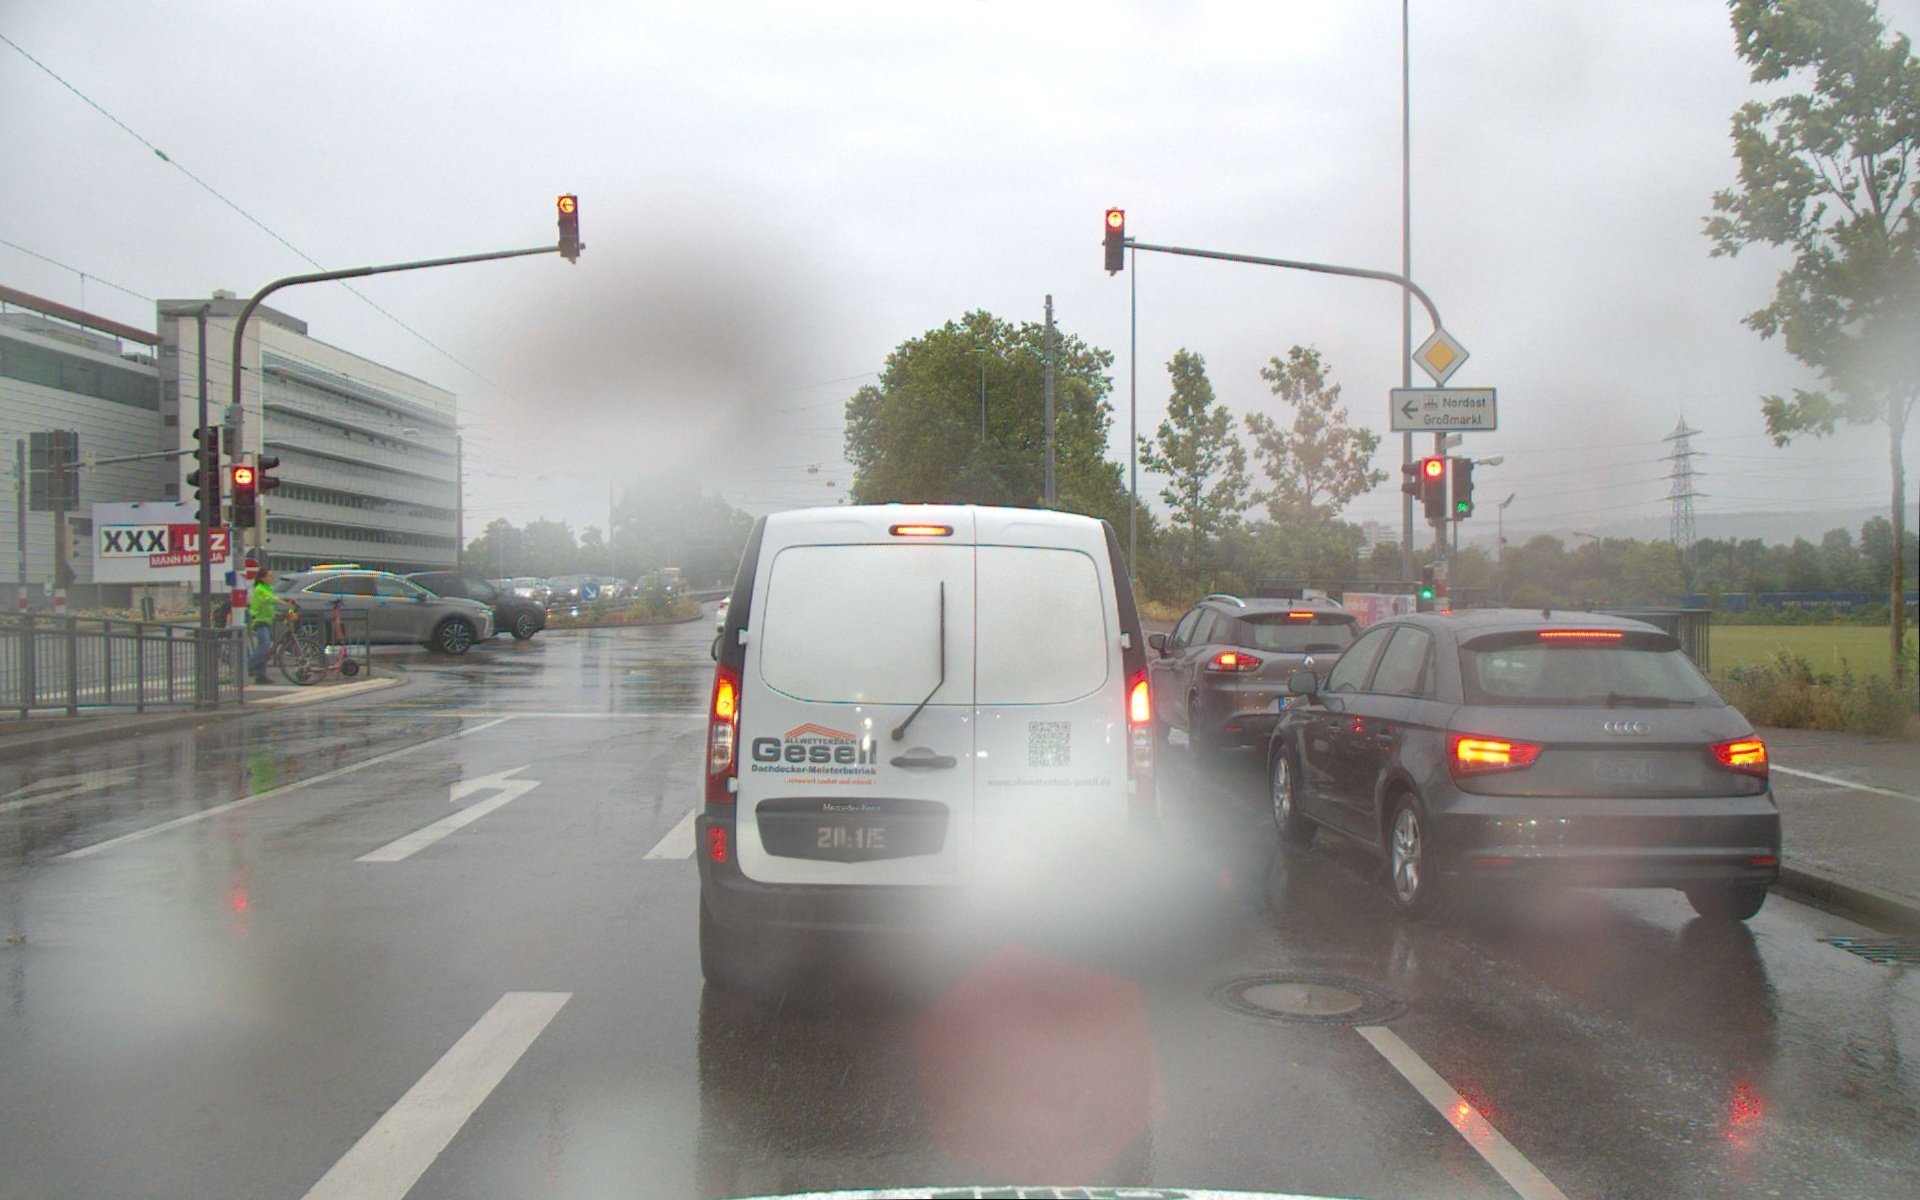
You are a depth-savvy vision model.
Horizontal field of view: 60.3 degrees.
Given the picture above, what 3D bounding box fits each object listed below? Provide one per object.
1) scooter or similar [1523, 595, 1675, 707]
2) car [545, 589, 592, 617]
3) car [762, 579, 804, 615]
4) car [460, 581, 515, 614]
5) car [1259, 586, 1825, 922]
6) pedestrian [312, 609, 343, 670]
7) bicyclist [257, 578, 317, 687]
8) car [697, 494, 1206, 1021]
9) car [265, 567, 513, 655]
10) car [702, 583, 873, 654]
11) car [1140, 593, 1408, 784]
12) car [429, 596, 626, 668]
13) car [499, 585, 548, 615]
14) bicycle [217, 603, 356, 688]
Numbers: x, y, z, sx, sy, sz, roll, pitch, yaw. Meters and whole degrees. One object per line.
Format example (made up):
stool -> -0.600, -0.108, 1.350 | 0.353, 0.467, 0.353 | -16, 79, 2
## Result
scooter or similar -> 7.634, 0.565, 19.939 | 0.676, 1.232, 3.020 | 0, 0, 0
car -> -21.495, 0.200, 90.867 | 1.676, 1.451, 3.808 | 2, -1, -1
car -> -8.941, -0.135, 83.913 | 1.909, 1.691, 4.460 | 2, -1, -4
car -> -21.983, -0.095, 77.060 | 1.528, 1.451, 3.568 | 2, -1, -1
car -> 2.792, 0.675, 8.798 | 1.565, 1.390, 3.628 | -1, -1, -3
pedestrian -> -9.700, 0.602, 25.366 | 0.309, 0.913, 0.380 | 2, 0, -3
bicyclist -> -9.518, 0.455, 23.376 | 0.600, 1.517, 0.591 | 1, 0, -41
car -> -0.171, 0.503, 7.724 | 1.719, 1.780, 4.166 | 1, 1, -4
car -> -11.311, 0.229, 32.808 | 4.441, 1.528, 1.699 | 3, -1, -27
car -> -4.074, 0.472, 39.781 | 1.783, 1.528, 4.260 | 2, -1, 33
car -> 2.793, 0.727, 15.554 | 1.650, 1.534, 3.919 | 1, 0, -2
car -> -10.346, 0.771, 39.681 | 4.422, 1.528, 1.706 | 3, -1, -16
car -> -22.024, 0.011, 83.546 | 1.528, 1.451, 3.568 | 2, -1, -1
bicycle -> -9.509, 0.637, 23.388 | 1.745, 1.157, 0.512 | 1, 0, -43
